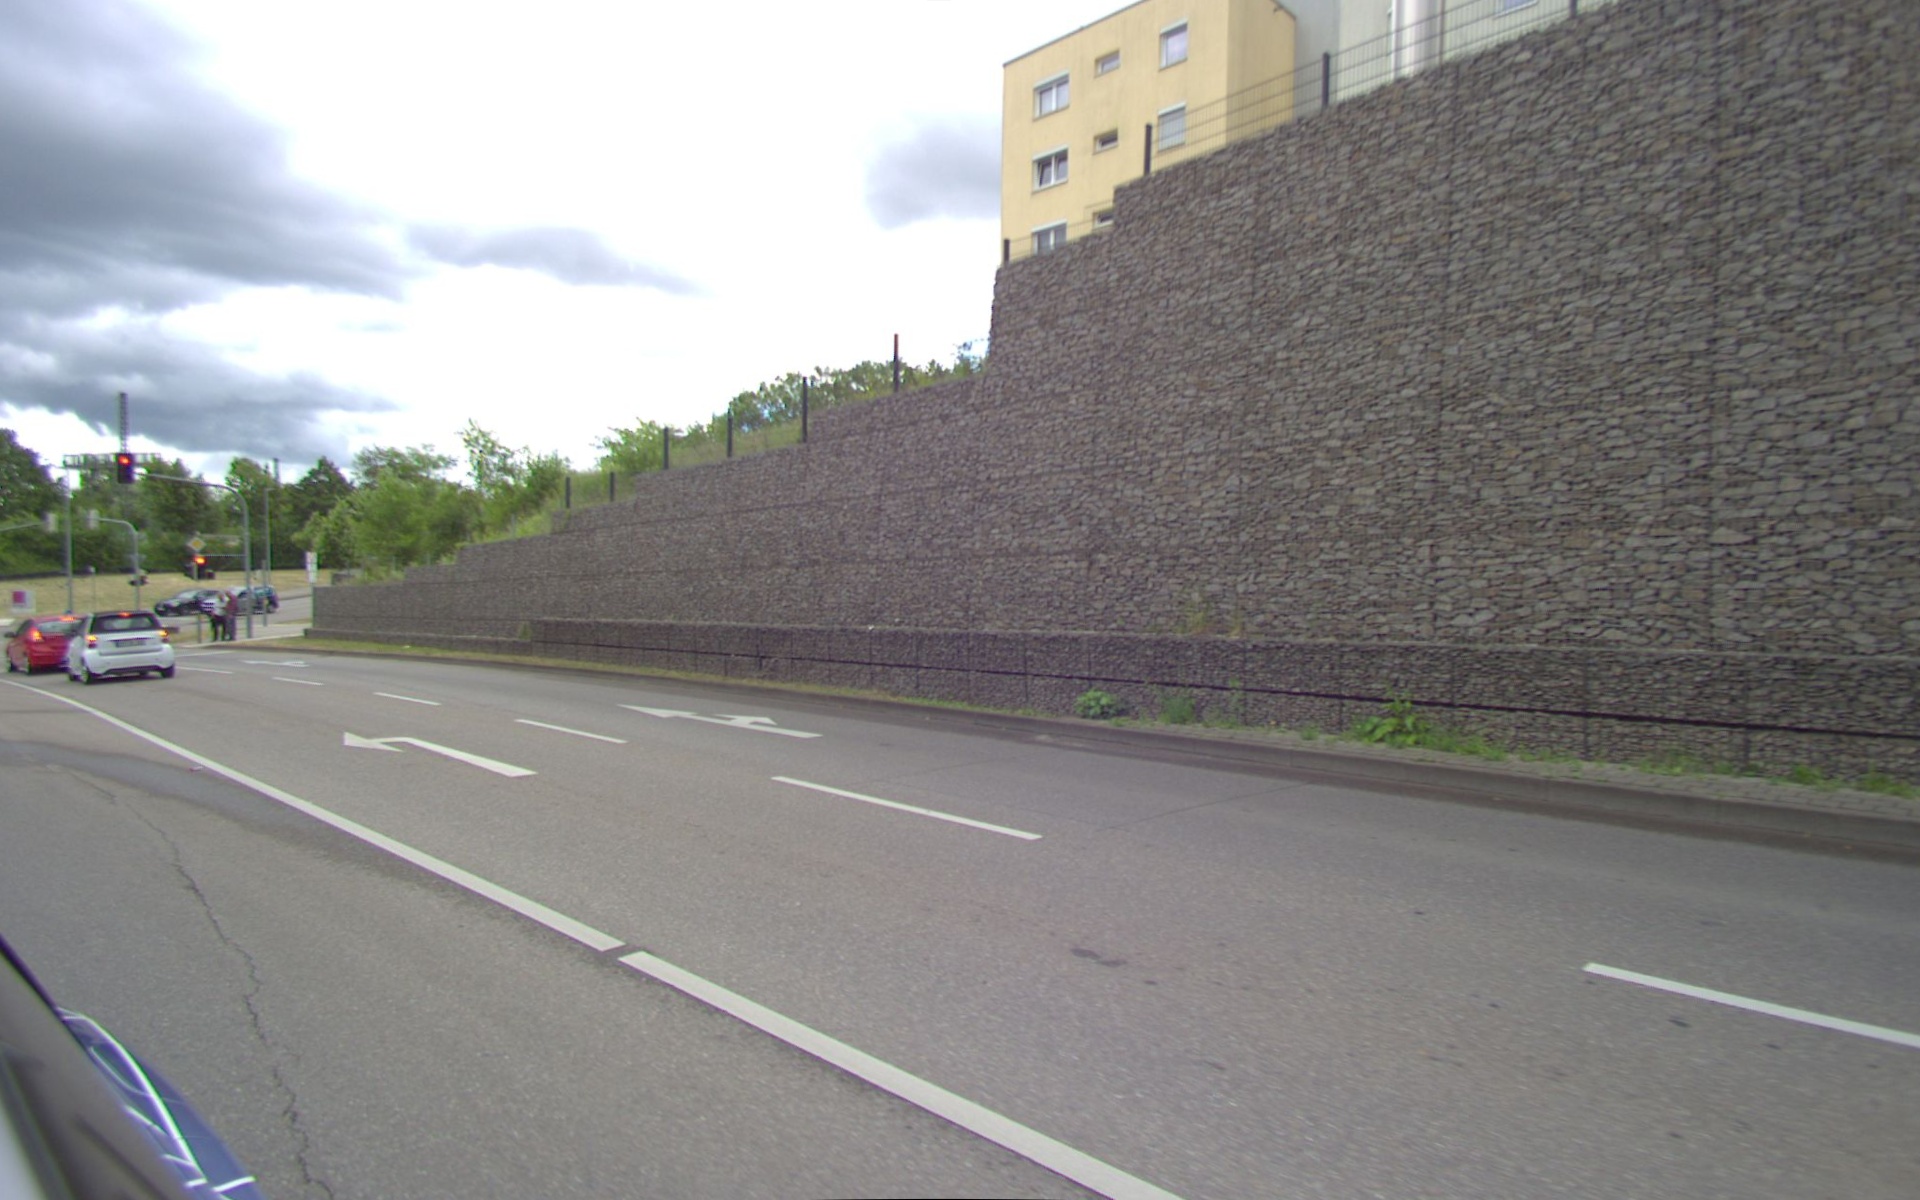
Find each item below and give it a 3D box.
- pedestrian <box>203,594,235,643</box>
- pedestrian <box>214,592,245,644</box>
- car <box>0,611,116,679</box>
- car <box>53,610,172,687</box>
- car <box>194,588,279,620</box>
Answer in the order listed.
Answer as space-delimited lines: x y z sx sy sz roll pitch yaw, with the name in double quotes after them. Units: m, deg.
-26.916 0.663 36.771 0.655 1.691 0.625 -2 3 -8 "pedestrian"
-26.249 0.639 36.372 0.664 1.841 0.617 0 3 35 "pedestrian"
-23.988 1.116 26.722 4.087 1.534 1.738 0 3 38 "car"
-19.081 1.046 22.764 2.912 1.534 1.528 -1 3 41 "car"
-45.774 0.220 64.148 1.742 1.741 4.247 -1 3 12 "car"
